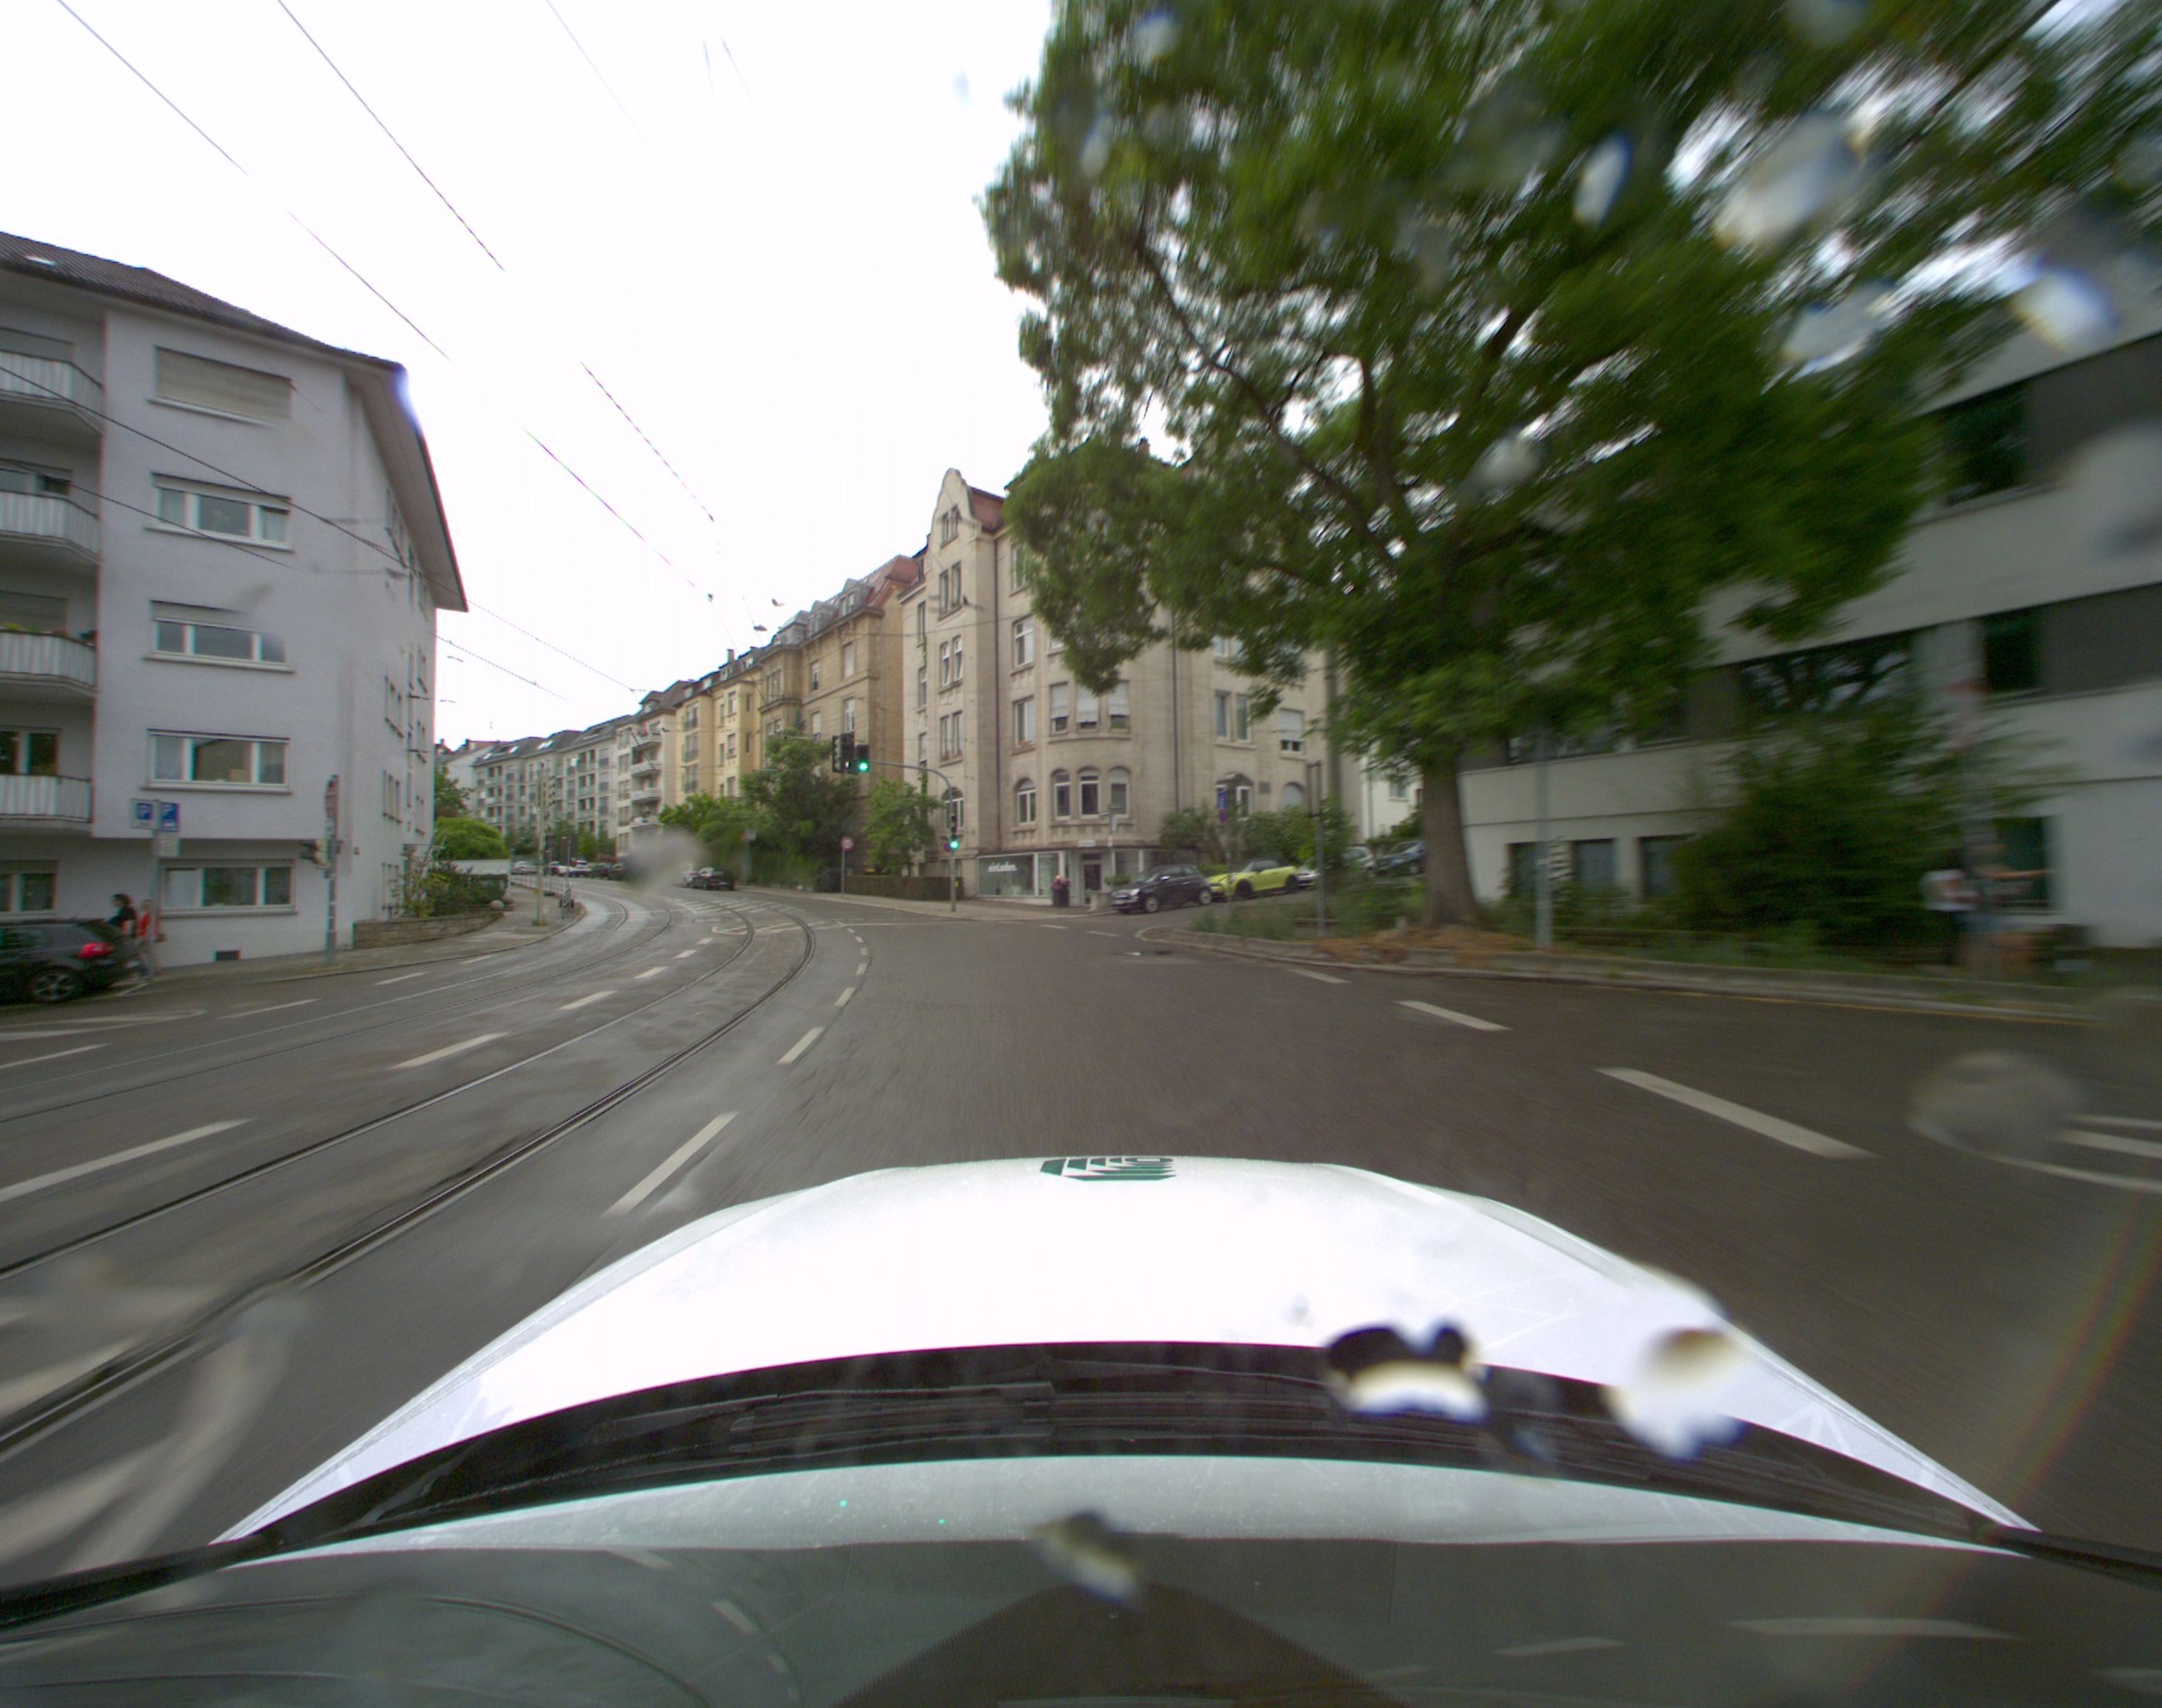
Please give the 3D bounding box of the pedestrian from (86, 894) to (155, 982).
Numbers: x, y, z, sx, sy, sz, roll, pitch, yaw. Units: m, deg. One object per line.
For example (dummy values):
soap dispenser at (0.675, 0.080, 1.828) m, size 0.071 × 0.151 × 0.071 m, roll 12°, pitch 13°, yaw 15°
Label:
pedestrian at (-19.741, 1.703, 16.752) m, size 0.748 × 1.699 × 0.666 m, roll 0°, pitch 1°, yaw -35°

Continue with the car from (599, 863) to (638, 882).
car at (-38.479, 1.523, 67.749) m, size 4.013 × 1.437 × 1.698 m, roll 0°, pitch -2°, yaw 44°

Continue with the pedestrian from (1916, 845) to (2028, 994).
pedestrian at (9.695, 0.692, 8.881) m, size 0.598 × 1.566 × 0.546 m, roll 0°, pitch 1°, yaw 0°

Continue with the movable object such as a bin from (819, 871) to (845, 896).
movable object such as a bin at (-14.772, 1.734, 48.322) m, size 0.812 × 1.403 × 1.236 m, roll 2°, pitch 2°, yaw 42°

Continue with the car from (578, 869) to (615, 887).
car at (-42.647, 2.121, 71.662) m, size 4.249 × 1.437 × 1.571 m, roll 0°, pitch -2°, yaw 42°

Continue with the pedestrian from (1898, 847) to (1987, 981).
pedestrian at (10.014, 0.685, 9.477) m, size 0.535 × 1.507 × 0.385 m, roll -2°, pitch -1°, yaw 3°

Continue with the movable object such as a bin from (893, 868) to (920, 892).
movable object such as a bin at (-11.086, 1.643, 51.757) m, size 1.241 × 1.425 × 1.292 m, roll 0°, pitch -1°, yaw -41°

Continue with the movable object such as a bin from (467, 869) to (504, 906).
movable object such as a bin at (-25.070, 1.380, 34.327) m, size 1.194 × 1.461 × 1.276 m, roll -1°, pitch 1°, yaw -34°

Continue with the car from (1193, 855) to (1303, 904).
car at (6.041, 0.896, 29.450) m, size 3.683 × 1.508 × 1.720 m, roll -3°, pitch 0°, yaw -32°

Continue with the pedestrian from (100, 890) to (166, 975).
pedestrian at (-20.131, 1.636, 17.310) m, size 0.748 × 1.699 × 0.666 m, roll 0°, pitch 1°, yaw -35°

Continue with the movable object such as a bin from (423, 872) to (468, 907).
movable object such as a bin at (-26.169, 1.455, 33.562) m, size 1.378 × 1.336 × 1.312 m, roll 0°, pitch 1°, yaw -35°

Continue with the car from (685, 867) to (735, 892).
car at (-23.778, 1.618, 52.100) m, size 1.781 × 1.391 × 3.953 m, roll 3°, pitch -1°, yaw -41°

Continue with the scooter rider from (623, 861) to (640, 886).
scooter rider at (-31.546, 1.398, 57.198) m, size 0.833 × 1.706 × 0.629 m, roll 1°, pitch -4°, yaw 37°

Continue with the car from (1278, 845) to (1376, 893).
car at (9.664, 0.582, 31.863) m, size 3.791 × 1.508 × 1.605 m, roll -4°, pitch -2°, yaw -36°

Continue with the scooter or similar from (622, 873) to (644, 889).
scooter or similar at (-31.419, 1.893, 57.097) m, size 1.983 × 1.050 × 0.518 m, roll 1°, pitch -4°, yaw 37°

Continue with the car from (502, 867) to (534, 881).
car at (-60.883, 2.131, 88.052) m, size 4.450 × 1.472 × 1.677 m, roll -1°, pitch -4°, yaw 39°

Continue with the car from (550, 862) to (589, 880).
car at (-48.784, 1.624, 77.600) m, size 4.194 × 1.573 × 1.854 m, roll 0°, pitch -4°, yaw 40°

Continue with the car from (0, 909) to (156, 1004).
car at (-20.183, 1.913, 14.690) m, size 4.270 × 1.454 × 1.836 m, roll -1°, pitch 2°, yaw -35°

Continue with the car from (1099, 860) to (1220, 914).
car at (2.619, 1.063, 27.085) m, size 3.683 × 1.508 × 1.720 m, roll -3°, pitch 0°, yaw -32°

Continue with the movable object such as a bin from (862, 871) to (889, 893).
movable object such as a bin at (-12.714, 1.720, 50.350) m, size 1.227 × 1.308 × 1.154 m, roll 0°, pitch -1°, yaw -41°

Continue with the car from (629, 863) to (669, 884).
car at (-32.982, 1.484, 62.159) m, size 1.737 × 1.437 × 3.794 m, roll 3°, pitch -2°, yaw -43°

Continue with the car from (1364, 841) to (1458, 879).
car at (14.167, 0.261, 34.919) m, size 3.908 × 1.508 × 1.608 m, roll 0°, pitch -4°, yaw -30°

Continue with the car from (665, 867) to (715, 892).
car at (-26.861, 1.740, 55.877) m, size 4.235 × 1.603 × 1.782 m, roll 0°, pitch -1°, yaw 45°
